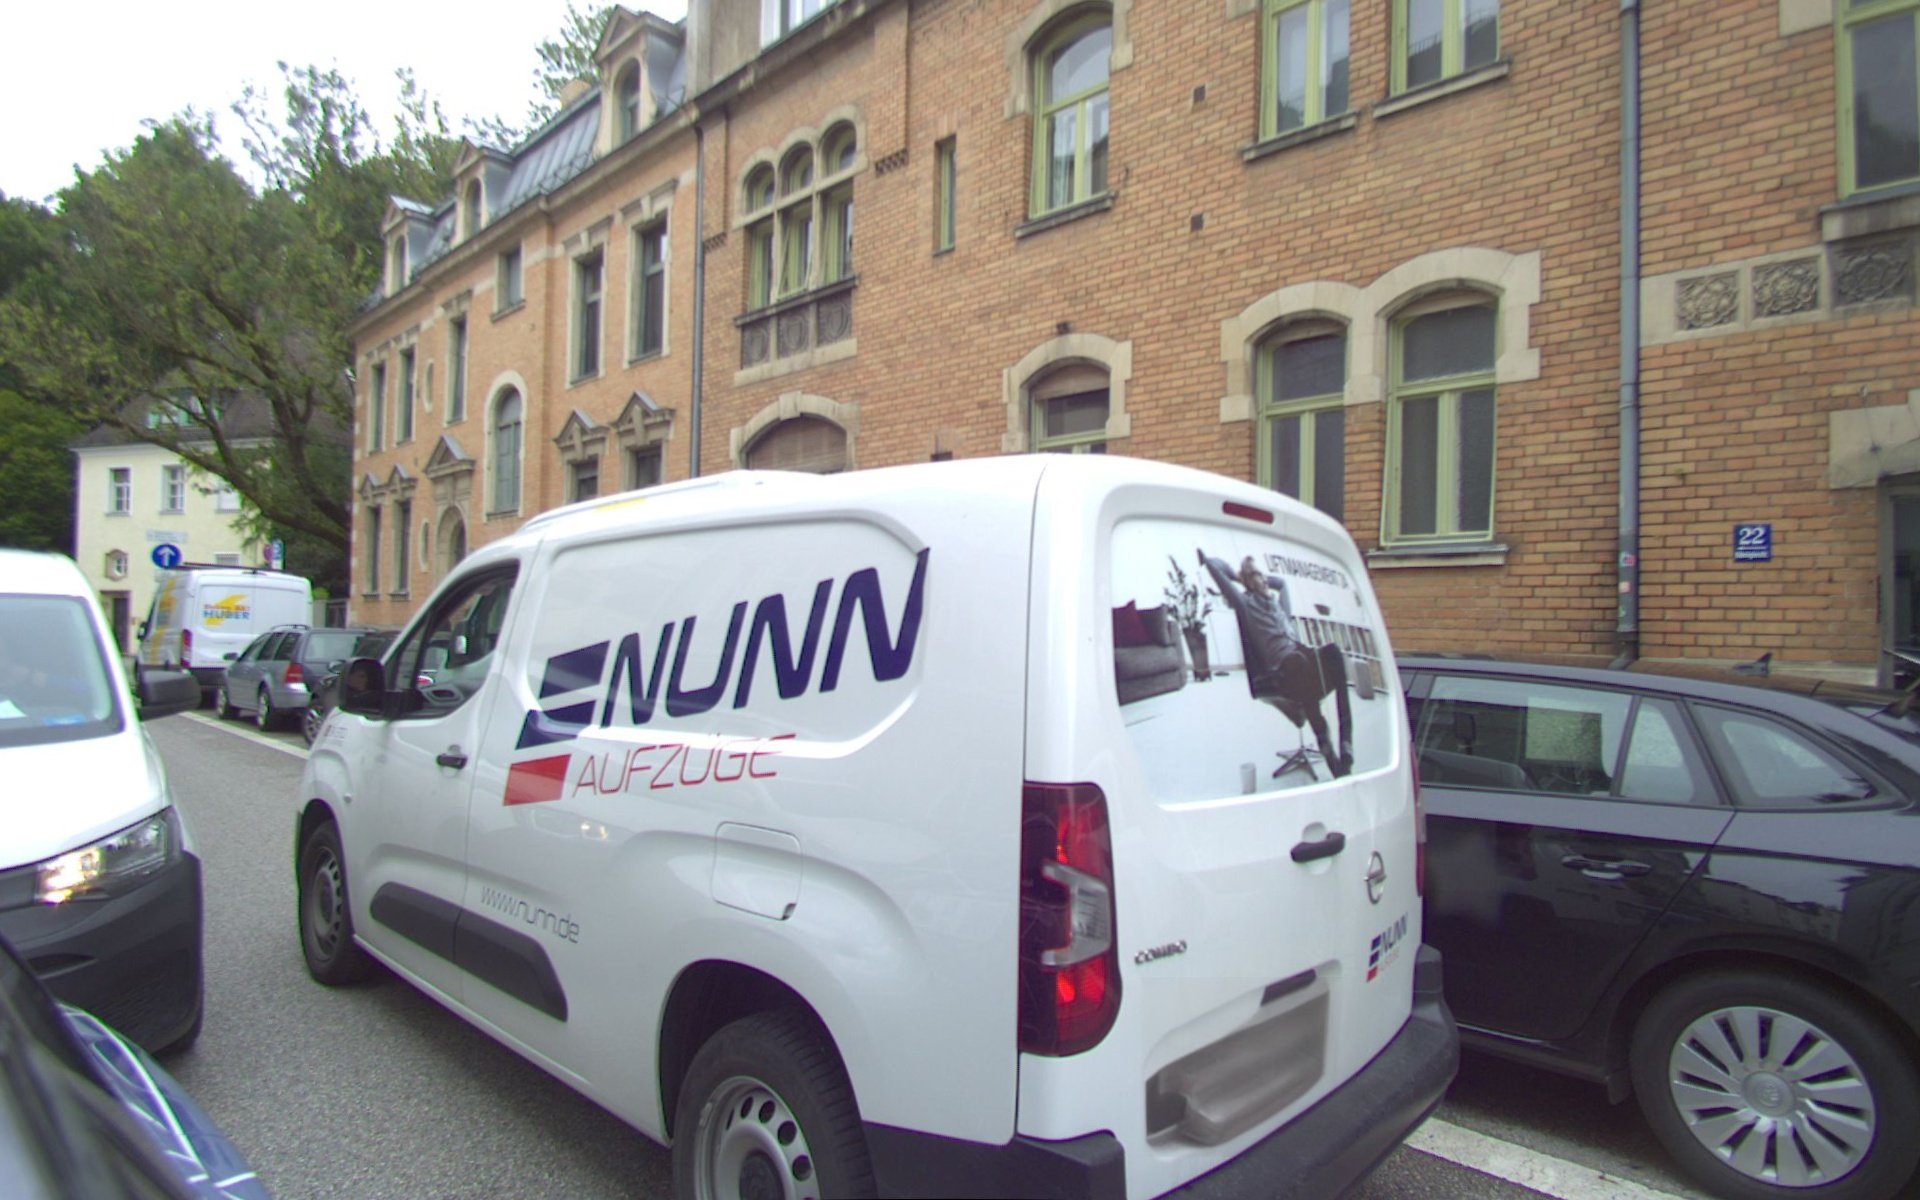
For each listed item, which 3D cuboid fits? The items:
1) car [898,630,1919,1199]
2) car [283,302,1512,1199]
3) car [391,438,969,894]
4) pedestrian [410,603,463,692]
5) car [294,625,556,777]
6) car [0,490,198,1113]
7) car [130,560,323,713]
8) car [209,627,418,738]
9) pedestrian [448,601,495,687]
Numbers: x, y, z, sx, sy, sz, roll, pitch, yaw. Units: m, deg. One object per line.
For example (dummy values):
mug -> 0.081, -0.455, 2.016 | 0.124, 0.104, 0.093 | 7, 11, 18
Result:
car -> 1.795, 0.884, 3.986 | 4.145, 1.454, 1.671 | -1, -4, 43
car -> -0.841, 0.575, 3.558 | 1.751, 1.817, 4.575 | 2, -2, -44
car -> -2.526, 0.434, 8.065 | 5.224, 2.497, 1.959 | -1, -4, 44
pedestrian -> -9.934, 0.903, 19.215 | 0.675, 1.645, 0.625 | -1, -4, 44
car -> -6.161, 1.050, 11.505 | 3.541, 1.454, 1.506 | -2, -5, 43
car -> -4.482, 0.593, 4.002 | 4.002, 1.785, 1.751 | -1, -2, 45
car -> -13.991, 0.735, 19.205 | 4.422, 2.560, 2.089 | -2, -6, 44
car -> -9.796, 1.167, 15.217 | 3.984, 1.454, 1.671 | -2, -5, 43
pedestrian -> -9.519, 0.869, 19.725 | 0.467, 1.645, 0.625 | -1, -4, 44
